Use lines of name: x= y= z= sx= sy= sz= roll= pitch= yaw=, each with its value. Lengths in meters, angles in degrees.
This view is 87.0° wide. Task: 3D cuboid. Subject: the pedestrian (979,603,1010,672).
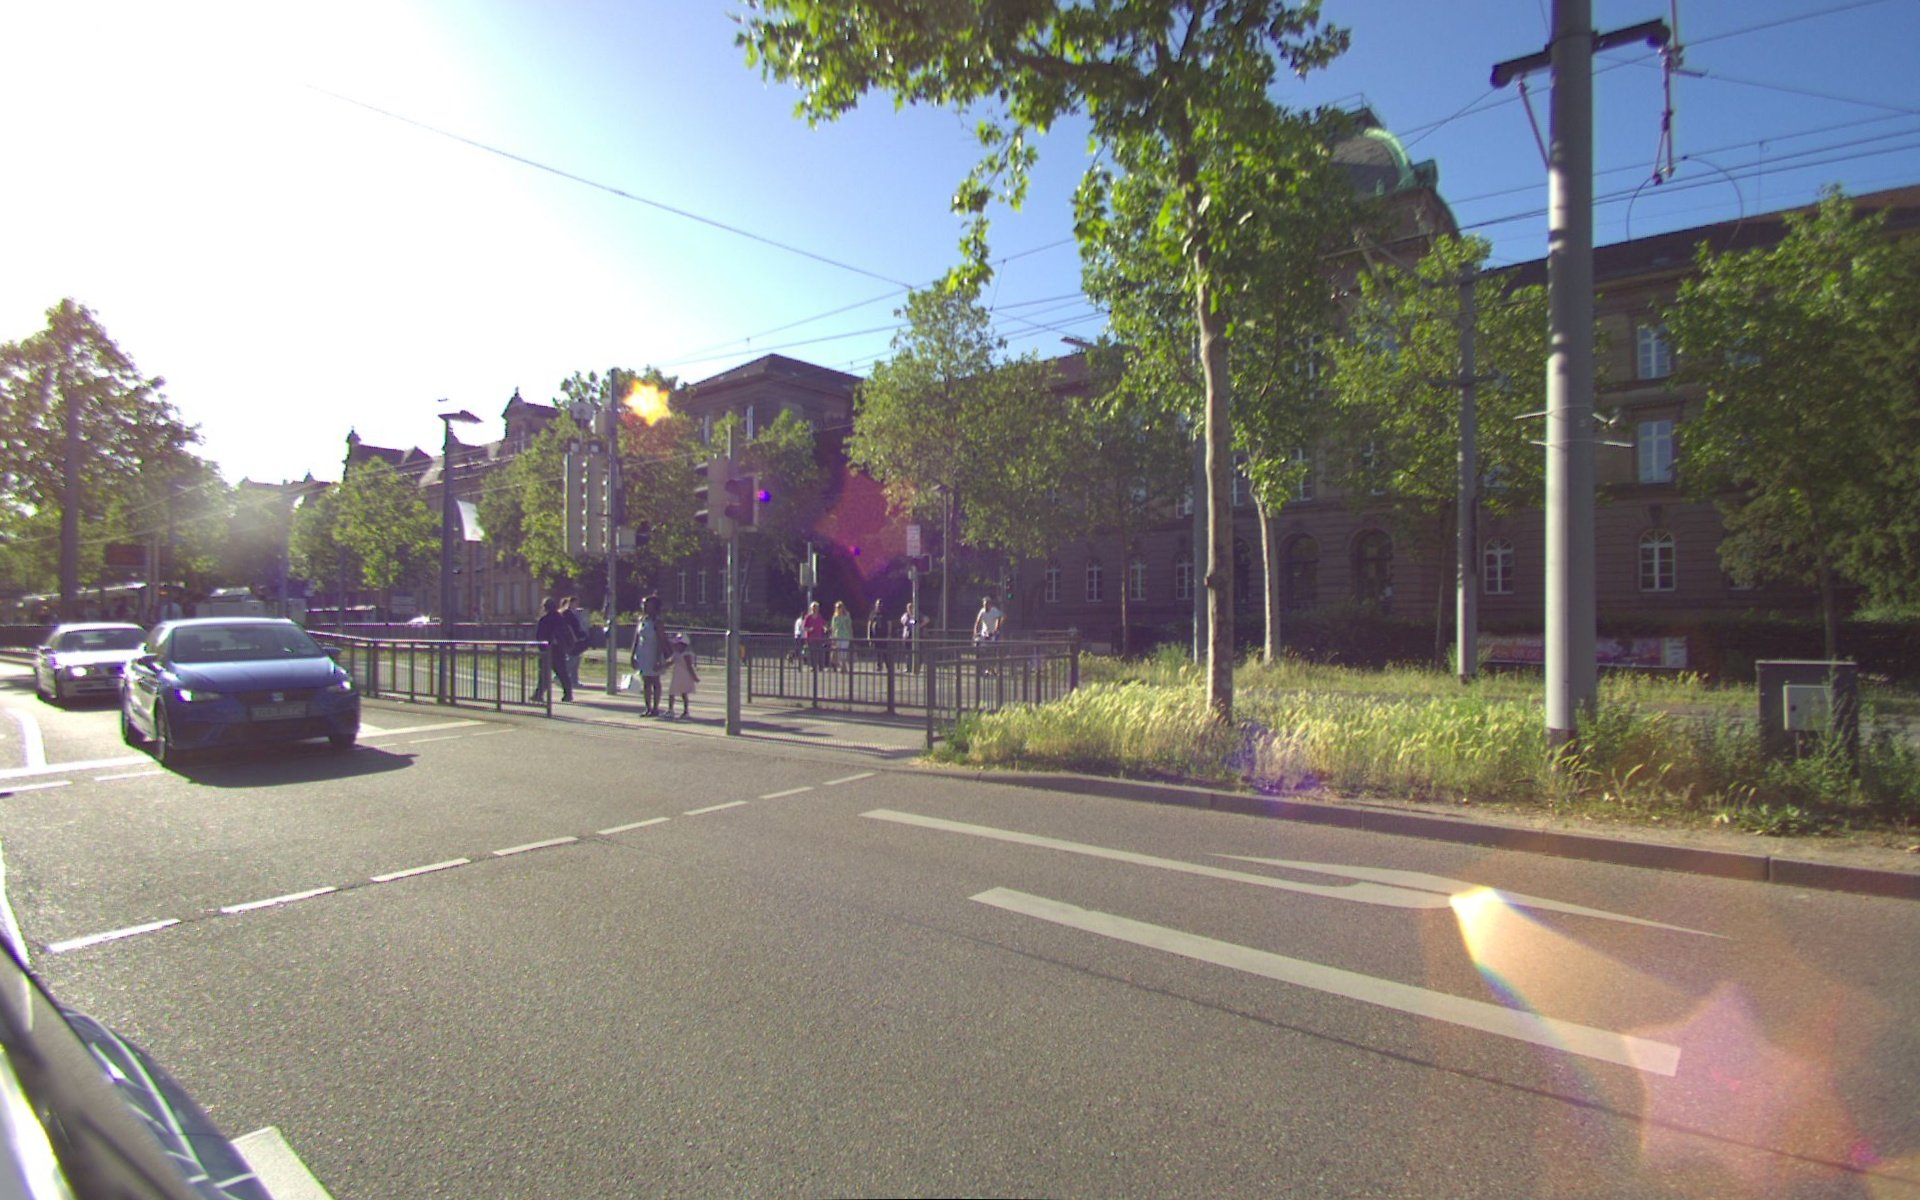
pedestrian: x=0.845 y=0.900 z=24.569 sx=0.691 sy=1.633 sz=0.593 roll=-1 pitch=0 yaw=6

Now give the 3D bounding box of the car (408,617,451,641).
car: x=-28.712 y=1.564 z=54.740 sx=2.456 sy=1.206 sz=1.167 roll=-1 pitch=0 yaw=40

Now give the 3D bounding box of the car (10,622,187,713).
car: x=-15.932 y=1.165 z=18.661 sx=3.996 sy=1.439 sz=1.777 roll=-1 pitch=0 yaw=39

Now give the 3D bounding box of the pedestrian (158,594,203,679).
pedestrian: x=-19.092 y=0.890 z=24.798 sx=0.786 sy=2.029 sz=0.702 roll=-1 pitch=0 yaw=40

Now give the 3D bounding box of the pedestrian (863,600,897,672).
pedestrian: x=-1.978 y=0.883 z=25.062 sx=0.691 sy=1.749 sz=0.593 roll=-1 pitch=0 yaw=6

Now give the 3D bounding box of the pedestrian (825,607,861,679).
pedestrian: x=-2.771 y=1.010 z=24.023 sx=0.691 sy=1.689 sz=0.593 roll=-1 pitch=0 yaw=6

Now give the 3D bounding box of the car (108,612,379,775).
car: x=-8.094 y=0.904 z=11.302 sx=3.869 sy=1.459 sz=1.754 roll=-2 pitch=0 yaw=44

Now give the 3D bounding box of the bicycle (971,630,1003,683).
bicycle: x=0.604 y=1.210 z=22.096 sx=0.538 sy=1.049 sz=1.660 roll=0 pitch=0 yaw=7

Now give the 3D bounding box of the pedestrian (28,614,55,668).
pedestrian: x=-36.983 y=1.630 z=40.744 sx=0.787 sy=2.131 sz=0.705 roll=-1 pitch=0 yaw=44

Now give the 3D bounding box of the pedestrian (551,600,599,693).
pedestrian: x=-7.095 y=0.842 z=18.647 sx=0.730 sy=1.674 sz=0.537 roll=-1 pitch=0 yaw=44

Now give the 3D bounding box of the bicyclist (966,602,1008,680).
bicyclist: x=0.594 y=0.880 z=22.145 sx=0.825 sy=1.656 sz=0.967 roll=-1 pitch=0 yaw=6

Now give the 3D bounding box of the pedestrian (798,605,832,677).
pedestrian: x=-3.587 y=1.015 z=25.107 sx=0.691 sy=1.758 sz=0.593 roll=-1 pitch=0 yaw=6

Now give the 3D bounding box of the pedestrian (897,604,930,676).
pedestrian: x=-1.097 y=0.943 z=23.824 sx=0.691 sy=1.656 sz=0.593 roll=-1 pitch=0 yaw=3

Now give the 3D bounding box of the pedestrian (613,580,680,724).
pedestrian: x=-4.082 y=0.656 z=13.199 sx=0.502 sy=1.820 sz=0.640 roll=-1 pitch=0 yaw=29

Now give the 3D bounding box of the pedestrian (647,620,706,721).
pedestrian: x=-3.624 y=0.883 z=12.956 sx=0.423 sy=1.242 sz=0.588 roll=-1 pitch=0 yaw=29

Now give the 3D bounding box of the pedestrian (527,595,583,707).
pedestrian: x=-6.259 y=0.769 z=15.641 sx=0.572 sy=1.674 sz=0.667 roll=-1 pitch=0 yaw=-43

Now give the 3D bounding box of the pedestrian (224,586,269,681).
pedestrian: x=-16.866 y=0.776 z=23.932 sx=0.773 sy=2.204 sz=0.802 roll=-1 pitch=0 yaw=-31
